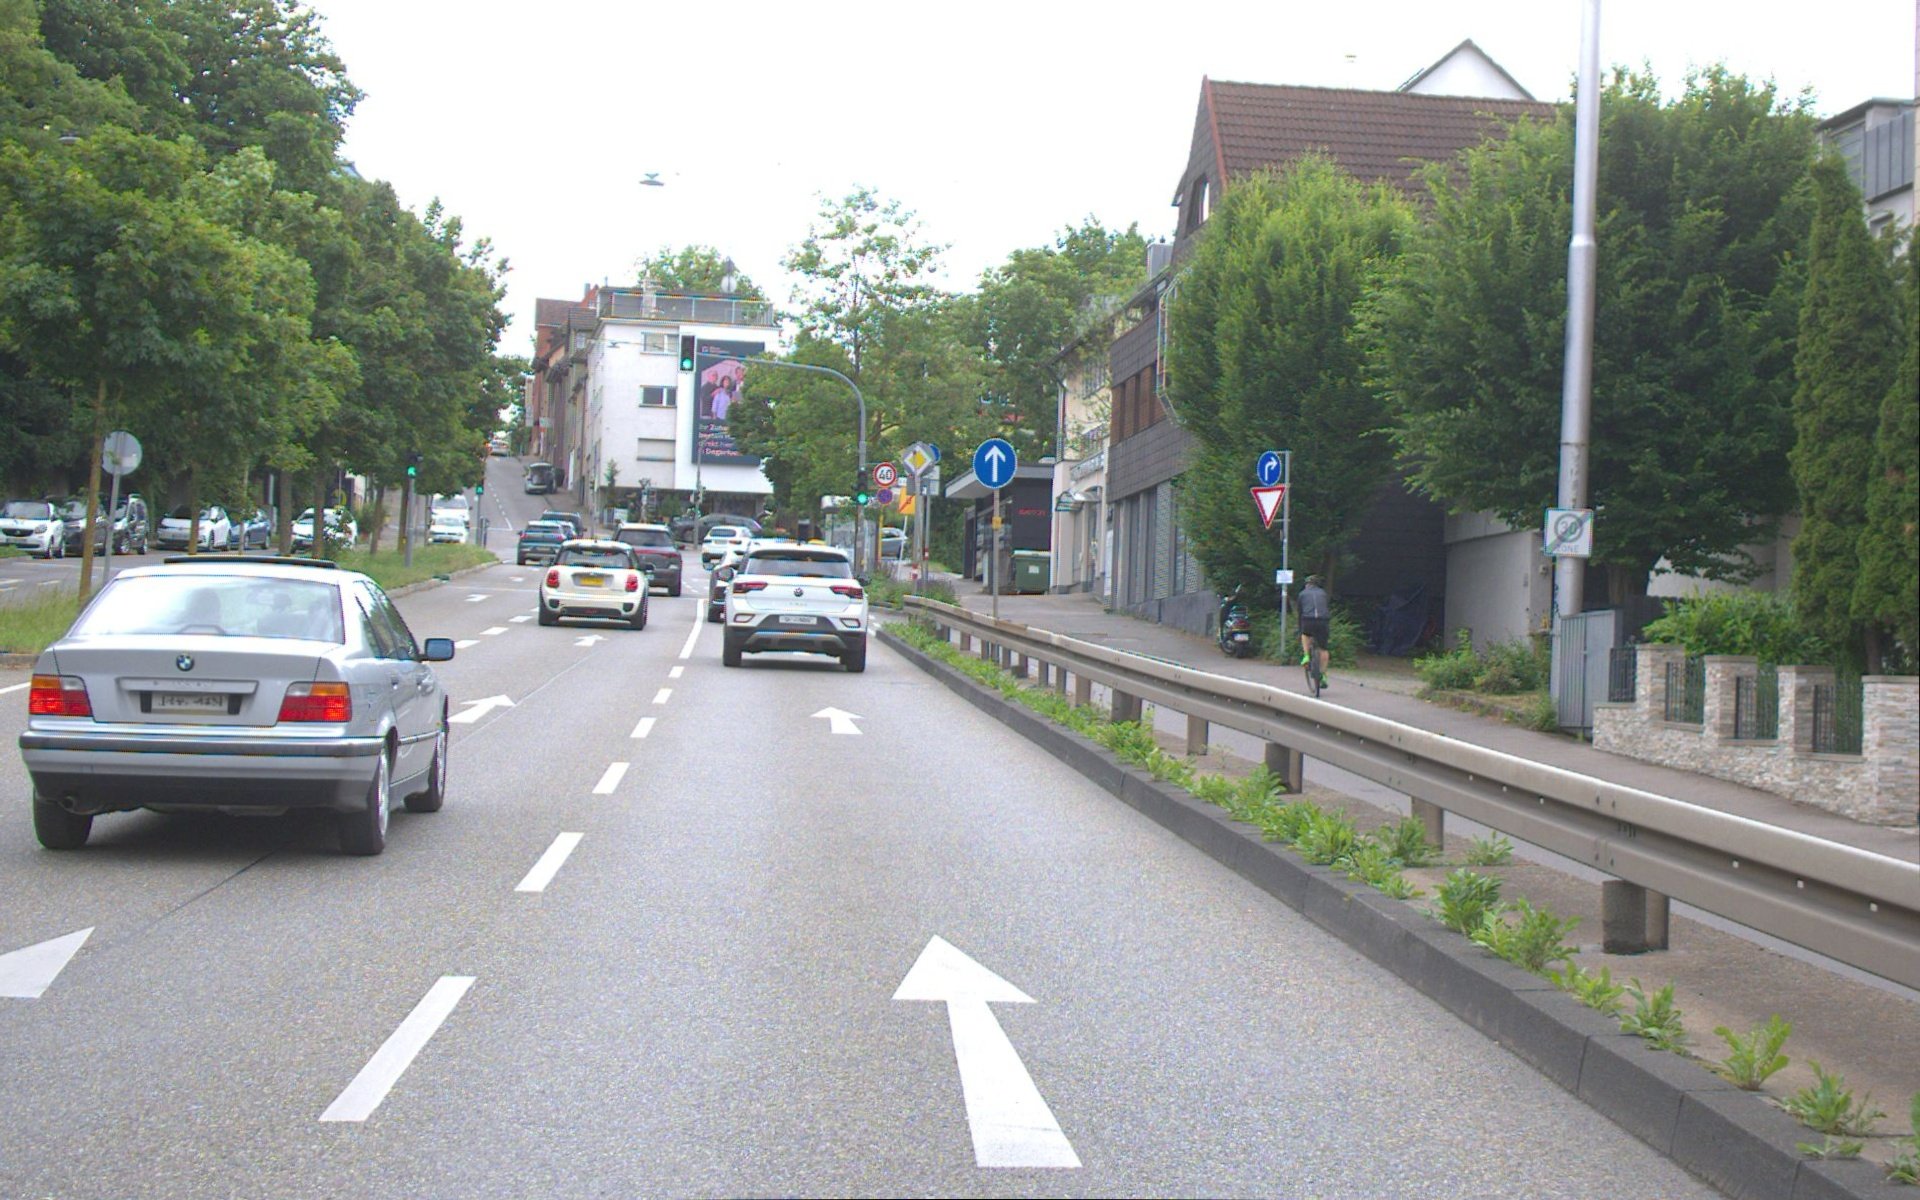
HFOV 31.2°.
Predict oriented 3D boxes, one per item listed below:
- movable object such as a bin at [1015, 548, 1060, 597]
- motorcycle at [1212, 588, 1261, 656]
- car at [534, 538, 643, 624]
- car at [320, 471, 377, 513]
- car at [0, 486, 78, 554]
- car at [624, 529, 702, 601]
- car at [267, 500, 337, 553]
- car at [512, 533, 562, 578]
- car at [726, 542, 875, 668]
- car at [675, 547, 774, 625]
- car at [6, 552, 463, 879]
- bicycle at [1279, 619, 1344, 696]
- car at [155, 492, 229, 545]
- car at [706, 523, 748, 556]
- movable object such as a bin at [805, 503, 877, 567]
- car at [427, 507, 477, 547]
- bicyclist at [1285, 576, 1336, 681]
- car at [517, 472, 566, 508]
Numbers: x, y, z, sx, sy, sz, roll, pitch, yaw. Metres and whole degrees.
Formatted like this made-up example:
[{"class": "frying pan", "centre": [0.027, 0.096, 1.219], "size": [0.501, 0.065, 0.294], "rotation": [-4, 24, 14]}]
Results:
[{"class": "movable object such as a bin", "centre": [2.369, -0.832, 105.146], "size": [1.195, 1.403, 0.711], "rotation": [4, 1, -4]}, {"class": "motorcycle", "centre": [5.022, 0.383, 62.515], "size": [0.608, 1.158, 2.041], "rotation": [1, 2, -3]}, {"class": "car", "centre": [-6.118, -0.322, 56.892], "size": [1.722, 1.371, 3.457], "rotation": [0, 1, -5]}, {"class": "car", "centre": [-24.544, -4.352, 138.063], "size": [1.859, 1.536, 4.280], "rotation": [4, 1, -6]}, {"class": "car", "centre": [-24.984, -2.172, 92.192], "size": [1.859, 1.664, 4.280], "rotation": [4, 1, -6]}, {"class": "car", "centre": [-6.947, -0.808, 80.166], "size": [1.722, 1.634, 3.457], "rotation": [0, 1, -7]}, {"class": "car", "centre": [-22.833, -2.571, 119.474], "size": [1.859, 1.664, 4.280], "rotation": [4, 1, -5]}, {"class": "car", "centre": [-14.984, -1.565, 121.927], "size": [1.722, 1.577, 3.457], "rotation": [0, 1, -6]}, {"class": "car", "centre": [-2.042, 0.044, 43.371], "size": [1.797, 1.514, 3.457], "rotation": [0, 1, -4]}, {"class": "car", "centre": [-4.354, -0.266, 63.270], "size": [1.722, 1.371, 3.457], "rotation": [0, 1, -5]}, {"class": "car", "centre": [-3.565, 0.486, 17.636], "size": [1.634, 1.378, 4.621], "rotation": [1, 1, -4]}, {"class": "bicycle", "centre": [5.252, 0.845, 51.416], "size": [0.566, 1.059, 2.006], "rotation": [-1, 2, -6]}, {"class": "car", "centre": [-25.560, -2.730, 114.521], "size": [1.859, 1.588, 4.280], "rotation": [4, 1, -6]}, {"class": "car", "centre": [-9.918, -2.546, 145.953], "size": [1.722, 1.371, 3.457], "rotation": [0, 1, -5]}, {"class": "movable object such as a bin", "centre": [-3.746, -2.034, 107.876], "size": [1.891, 1.863, 1.529], "rotation": [4, 1, -12]}, {"class": "car", "centre": [-21.933, -3.170, 148.514], "size": [1.859, 1.536, 4.280], "rotation": [4, 1, -6]}, {"class": "bicyclist", "centre": [5.232, 0.415, 51.331], "size": [0.566, 1.519, 0.959], "rotation": [-1, 2, -6]}, {"class": "car", "centre": [-25.520, -6.736, 209.946], "size": [2.510, 2.006, 5.182], "rotation": [4, 1, -3]}]
